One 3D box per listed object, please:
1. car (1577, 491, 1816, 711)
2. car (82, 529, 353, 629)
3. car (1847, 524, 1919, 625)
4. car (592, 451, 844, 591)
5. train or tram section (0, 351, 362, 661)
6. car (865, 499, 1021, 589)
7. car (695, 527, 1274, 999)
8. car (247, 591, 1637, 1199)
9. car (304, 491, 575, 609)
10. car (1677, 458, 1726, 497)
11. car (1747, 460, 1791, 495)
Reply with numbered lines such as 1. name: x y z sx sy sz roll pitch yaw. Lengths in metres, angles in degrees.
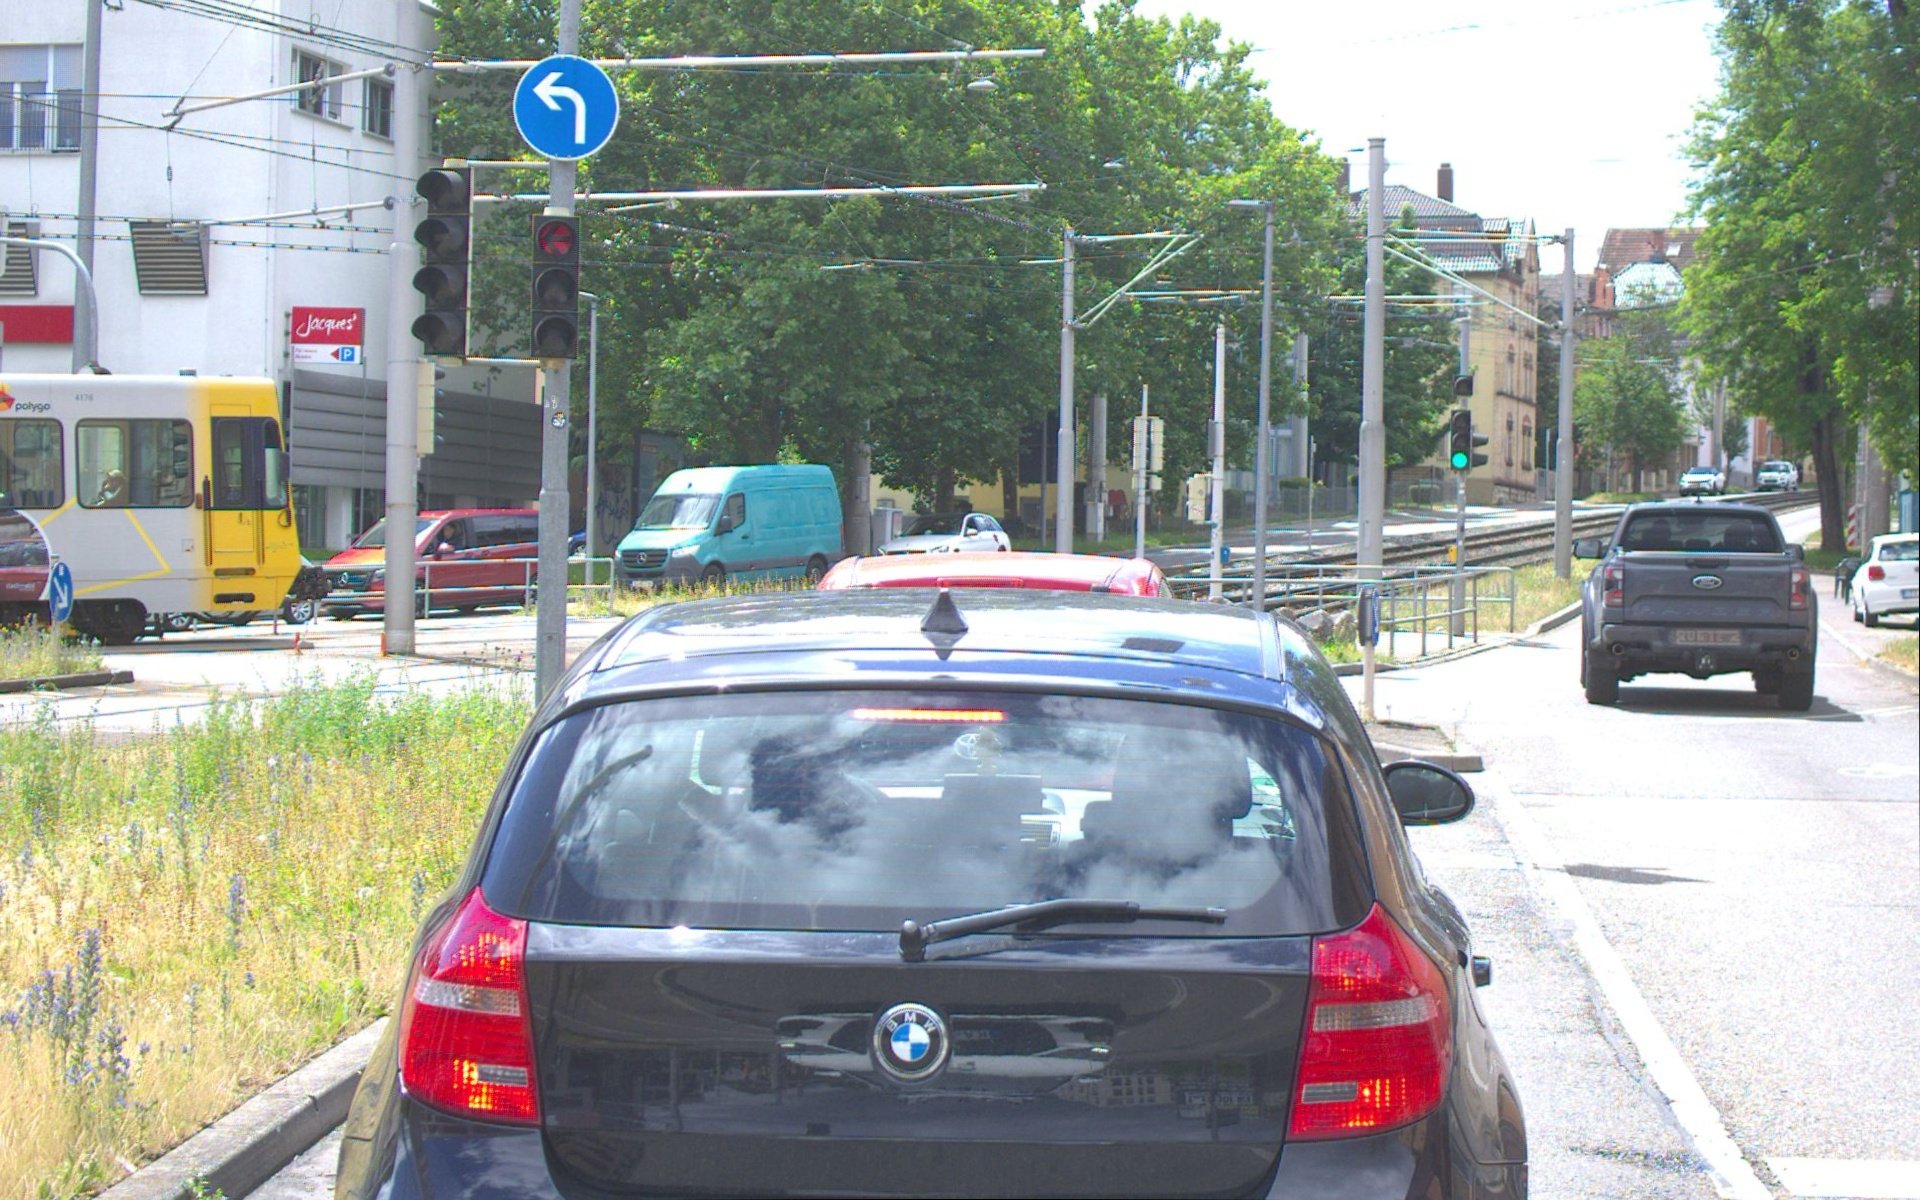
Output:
1. car: 6.887 0.005 32.159 2.000 1.880 5.147 0 0 12
2. car: -12.198 -0.348 56.702 1.857 1.579 4.161 0 0 37
3. car: 15.445 -0.409 56.055 1.788 1.590 3.998 0 0 13
4. car: -4.717 -1.516 68.054 2.134 2.645 5.681 0 0 30
5. train or tram section: -17.155 -1.101 40.758 19.987 3.801 3.761 -1 0 -33
6. car: -0.338 -1.231 76.944 1.855 1.921 4.792 0 0 21
7. car: 0.247 0.503 12.795 1.625 1.468 3.999 0 0 8
8. car: -0.110 0.715 6.215 1.701 1.447 4.000 0 0 -3
9. car: -9.203 -0.869 61.106 1.857 2.002 4.787 0 0 38
10. car: 40.504 -6.665 187.740 1.996 2.007 3.996 0 0 21
11. car: 48.737 -7.369 207.038 1.996 2.007 3.996 0 0 21
